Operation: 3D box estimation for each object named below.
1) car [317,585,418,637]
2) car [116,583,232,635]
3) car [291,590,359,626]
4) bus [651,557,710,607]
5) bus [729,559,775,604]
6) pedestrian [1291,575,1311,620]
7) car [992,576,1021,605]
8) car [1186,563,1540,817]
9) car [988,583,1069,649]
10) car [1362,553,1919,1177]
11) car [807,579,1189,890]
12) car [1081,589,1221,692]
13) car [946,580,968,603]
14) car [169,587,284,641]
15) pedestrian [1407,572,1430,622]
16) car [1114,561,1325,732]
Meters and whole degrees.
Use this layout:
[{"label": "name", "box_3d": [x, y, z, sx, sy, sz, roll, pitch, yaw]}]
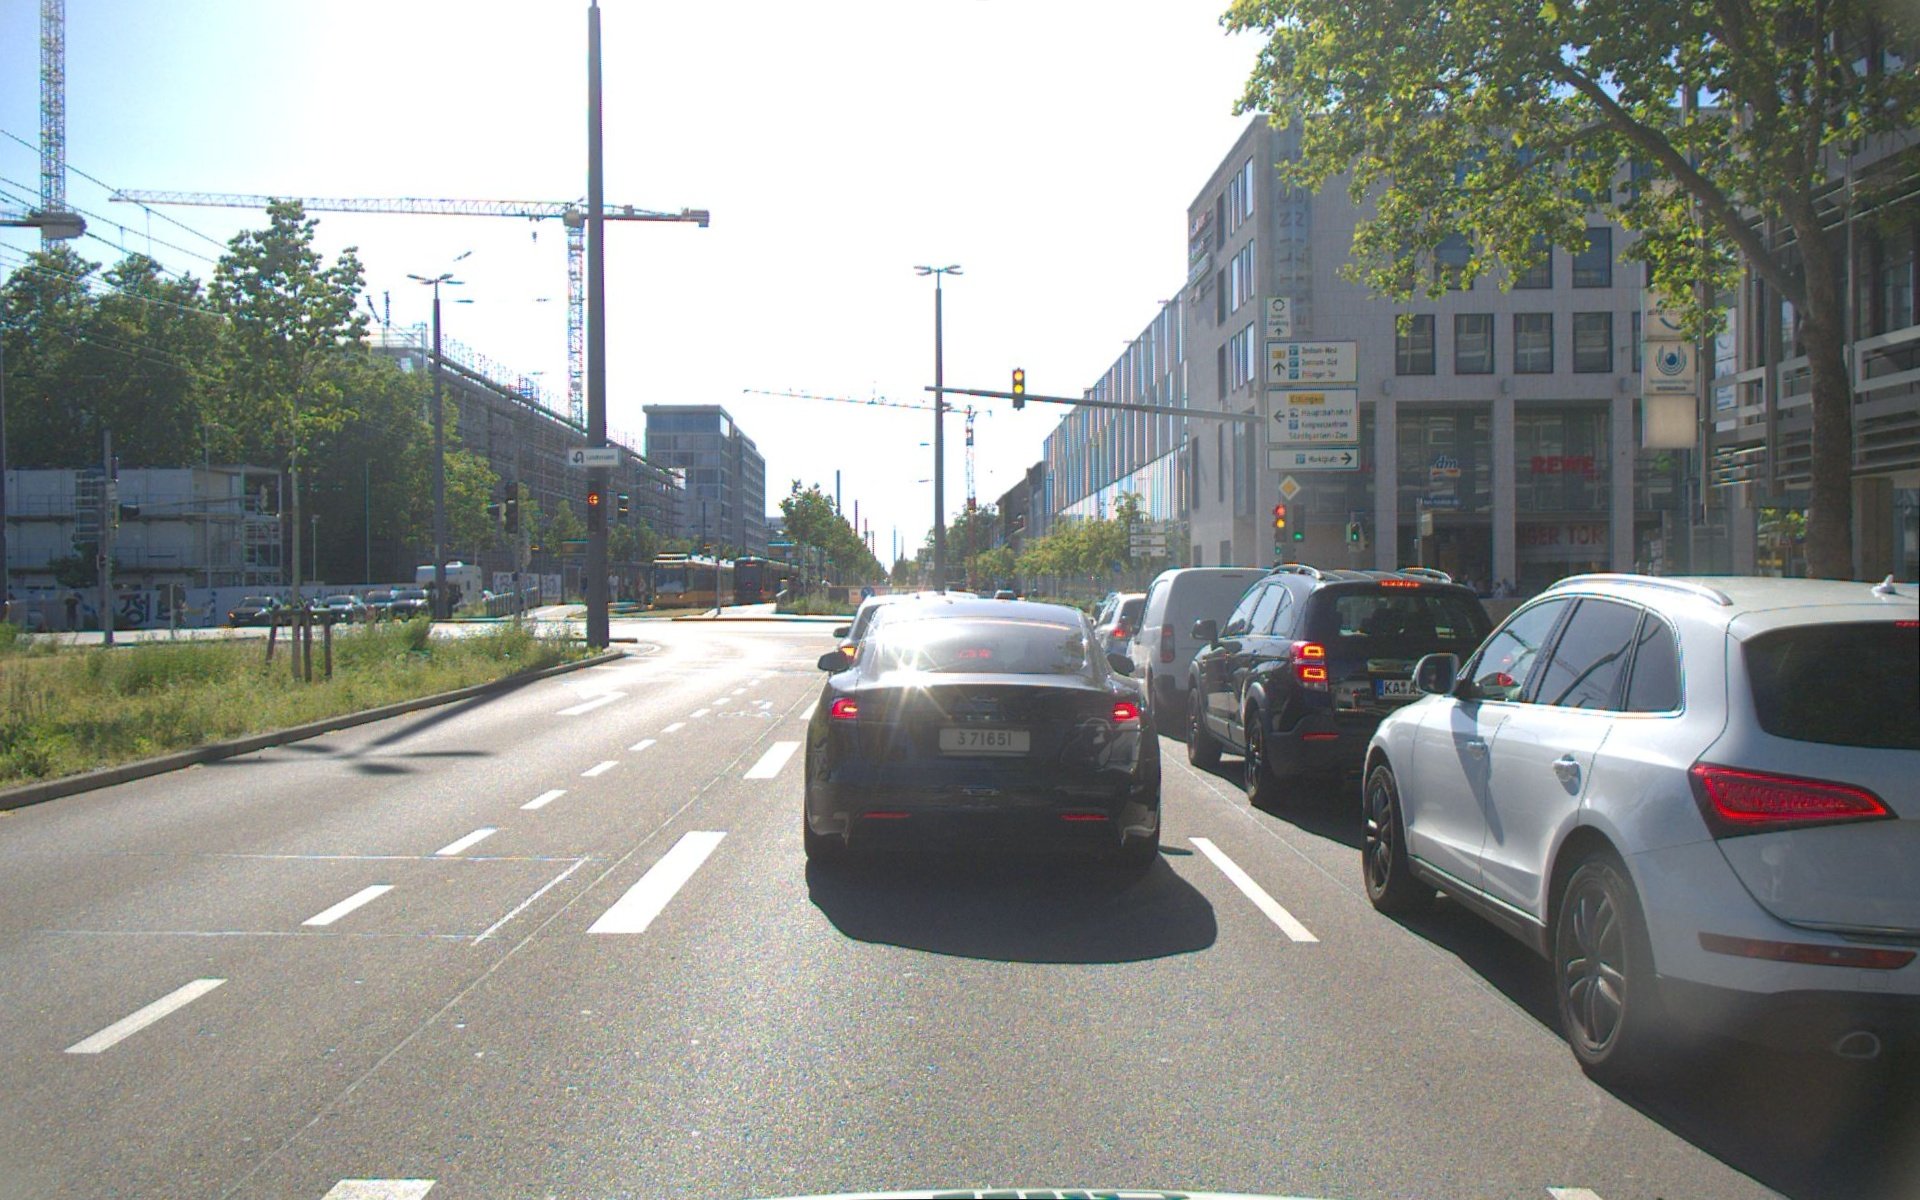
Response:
[{"label": "car", "box_3d": [-14.437, 0.266, 40.426, 1.348, 1.199, 3.219, 2, 0, -2]}, {"label": "car", "box_3d": [-19.194, 0.225, 40.522, 1.348, 1.199, 3.219, 2, 0, -2]}, {"label": "car", "box_3d": [-30.509, 0.371, 79.525, 1.800, 1.641, 3.894, 2, 0, -2]}, {"label": "bus", "box_3d": [-16.920, -1.023, 100.543, 2.576, 2.832, 8.837, 2, 0, -4]}, {"label": "bus", "box_3d": [-14.684, -1.239, 117.321, 2.575, 3.011, 9.891, 2, 0, -4]}, {"label": "pedestrian", "box_3d": [11.347, -0.089, 55.023, 0.550, 1.466, 0.632, 1, -1, 6]}, {"label": "car", "box_3d": [3.409, -0.685, 122.613, 1.953, 2.049, 3.999, 2, 0, -1]}, {"label": "car", "box_3d": [2.968, 0.569, 13.076, 1.687, 1.682, 4.185, 0, 1, -2]}, {"label": "car", "box_3d": [1.574, 0.346, 39.073, 1.686, 1.456, 4.186, 0, 1, -1]}, {"label": "car", "box_3d": [2.907, 0.670, 6.457, 1.686, 1.646, 4.186, 0, 1, 0]}, {"label": "car", "box_3d": [0.124, 0.629, 10.117, 1.873, 1.512, 4.008, 0, 1, -2]}, {"label": "car", "box_3d": [2.936, 0.574, 26.167, 1.686, 1.456, 4.186, 0, 1, -1]}, {"label": "car", "box_3d": [-0.313, -0.786, 156.882, 1.953, 2.049, 3.999, 2, 0, -1]}, {"label": "car", "box_3d": [-17.422, 0.333, 39.410, 1.348, 1.199, 3.219, 2, 0, -2]}, {"label": "pedestrian", "box_3d": [13.646, -0.079, 49.222, 0.550, 1.466, 0.632, 1, -1, 6]}, {"label": "car", "box_3d": [2.965, 0.465, 19.742, 1.687, 1.813, 4.184, 0, 1, -3]}]
